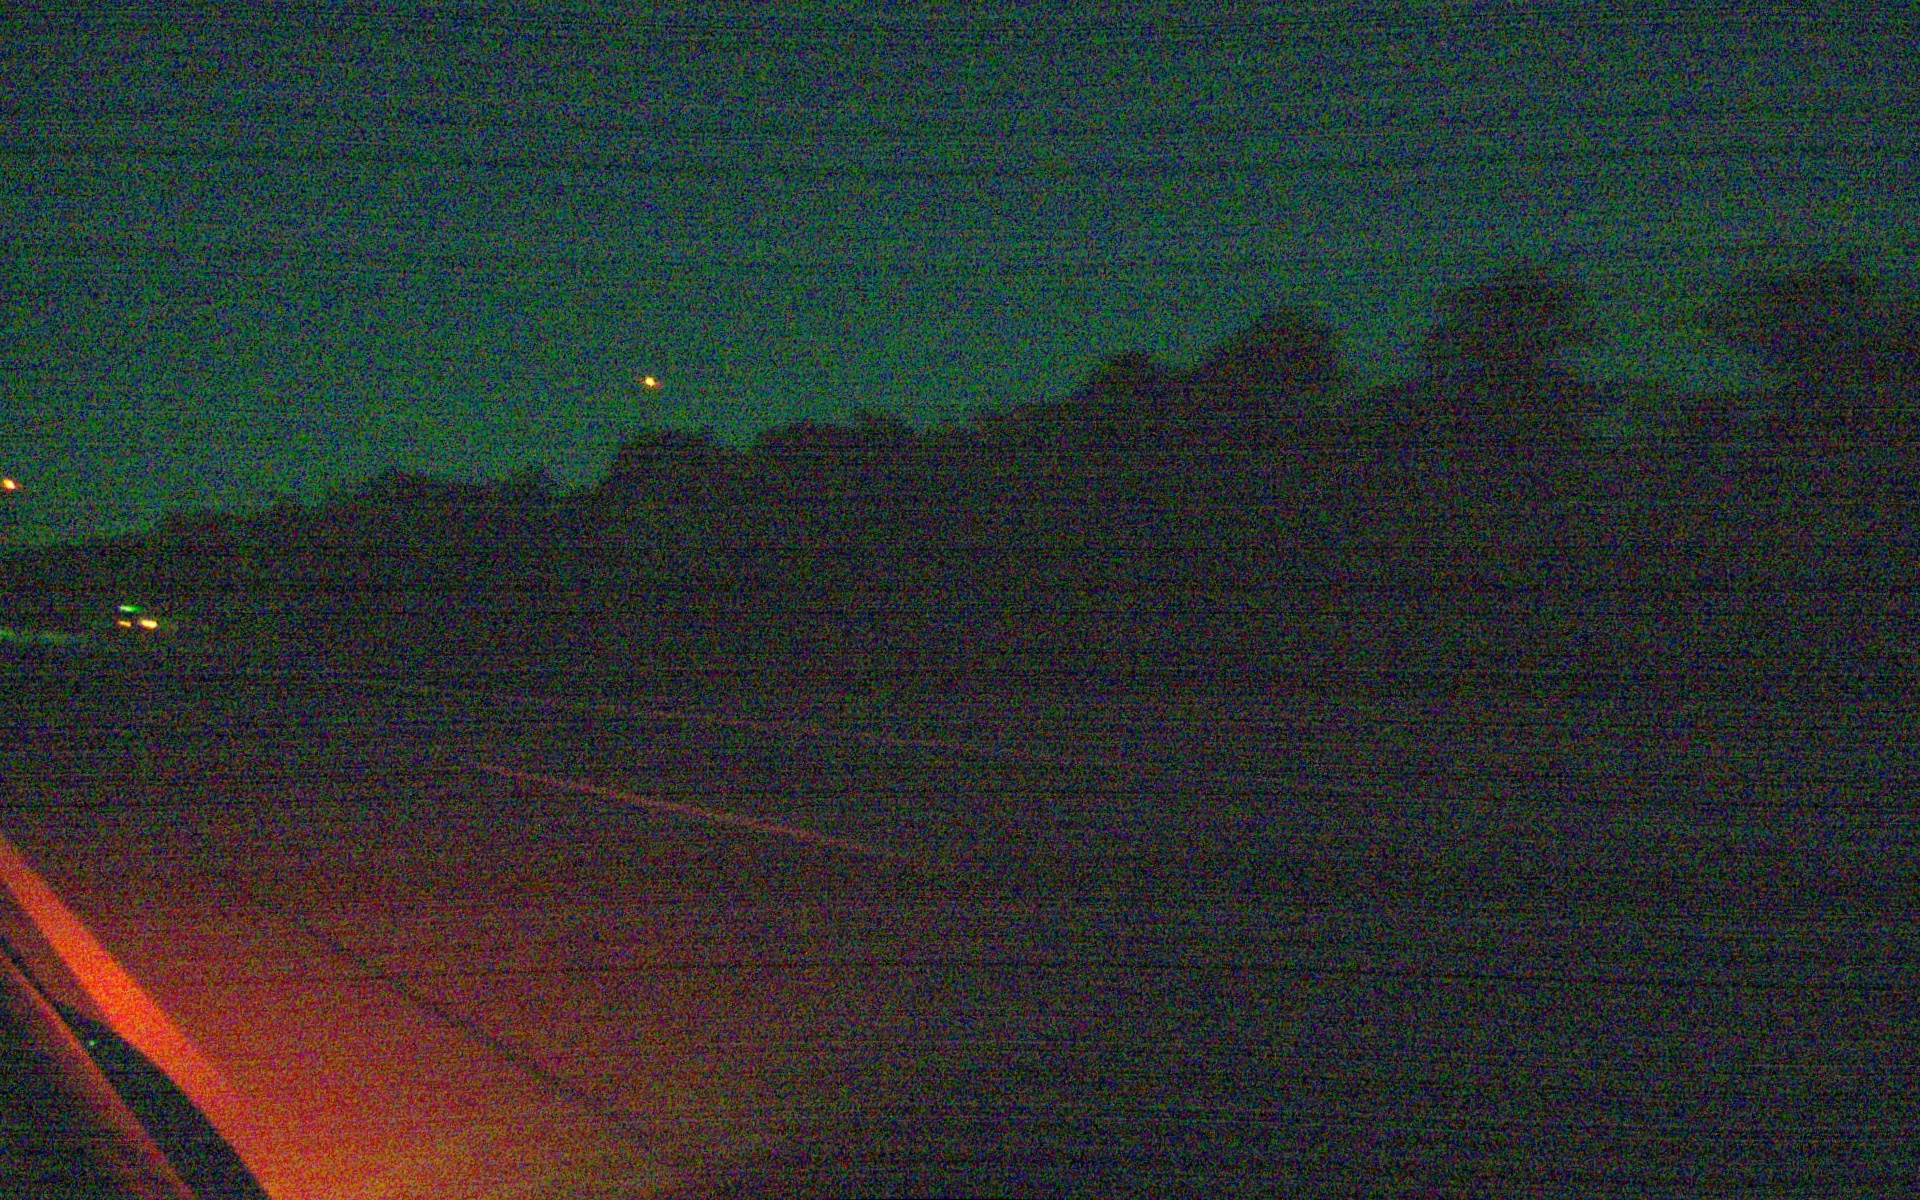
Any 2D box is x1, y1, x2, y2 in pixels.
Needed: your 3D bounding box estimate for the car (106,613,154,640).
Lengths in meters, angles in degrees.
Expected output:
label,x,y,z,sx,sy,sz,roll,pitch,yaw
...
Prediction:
label,x,y,z,sx,sy,sz,roll,pitch,yaw
car,-78.718,2.466,95.970,6.666,2.471,2.367,0,0,40
